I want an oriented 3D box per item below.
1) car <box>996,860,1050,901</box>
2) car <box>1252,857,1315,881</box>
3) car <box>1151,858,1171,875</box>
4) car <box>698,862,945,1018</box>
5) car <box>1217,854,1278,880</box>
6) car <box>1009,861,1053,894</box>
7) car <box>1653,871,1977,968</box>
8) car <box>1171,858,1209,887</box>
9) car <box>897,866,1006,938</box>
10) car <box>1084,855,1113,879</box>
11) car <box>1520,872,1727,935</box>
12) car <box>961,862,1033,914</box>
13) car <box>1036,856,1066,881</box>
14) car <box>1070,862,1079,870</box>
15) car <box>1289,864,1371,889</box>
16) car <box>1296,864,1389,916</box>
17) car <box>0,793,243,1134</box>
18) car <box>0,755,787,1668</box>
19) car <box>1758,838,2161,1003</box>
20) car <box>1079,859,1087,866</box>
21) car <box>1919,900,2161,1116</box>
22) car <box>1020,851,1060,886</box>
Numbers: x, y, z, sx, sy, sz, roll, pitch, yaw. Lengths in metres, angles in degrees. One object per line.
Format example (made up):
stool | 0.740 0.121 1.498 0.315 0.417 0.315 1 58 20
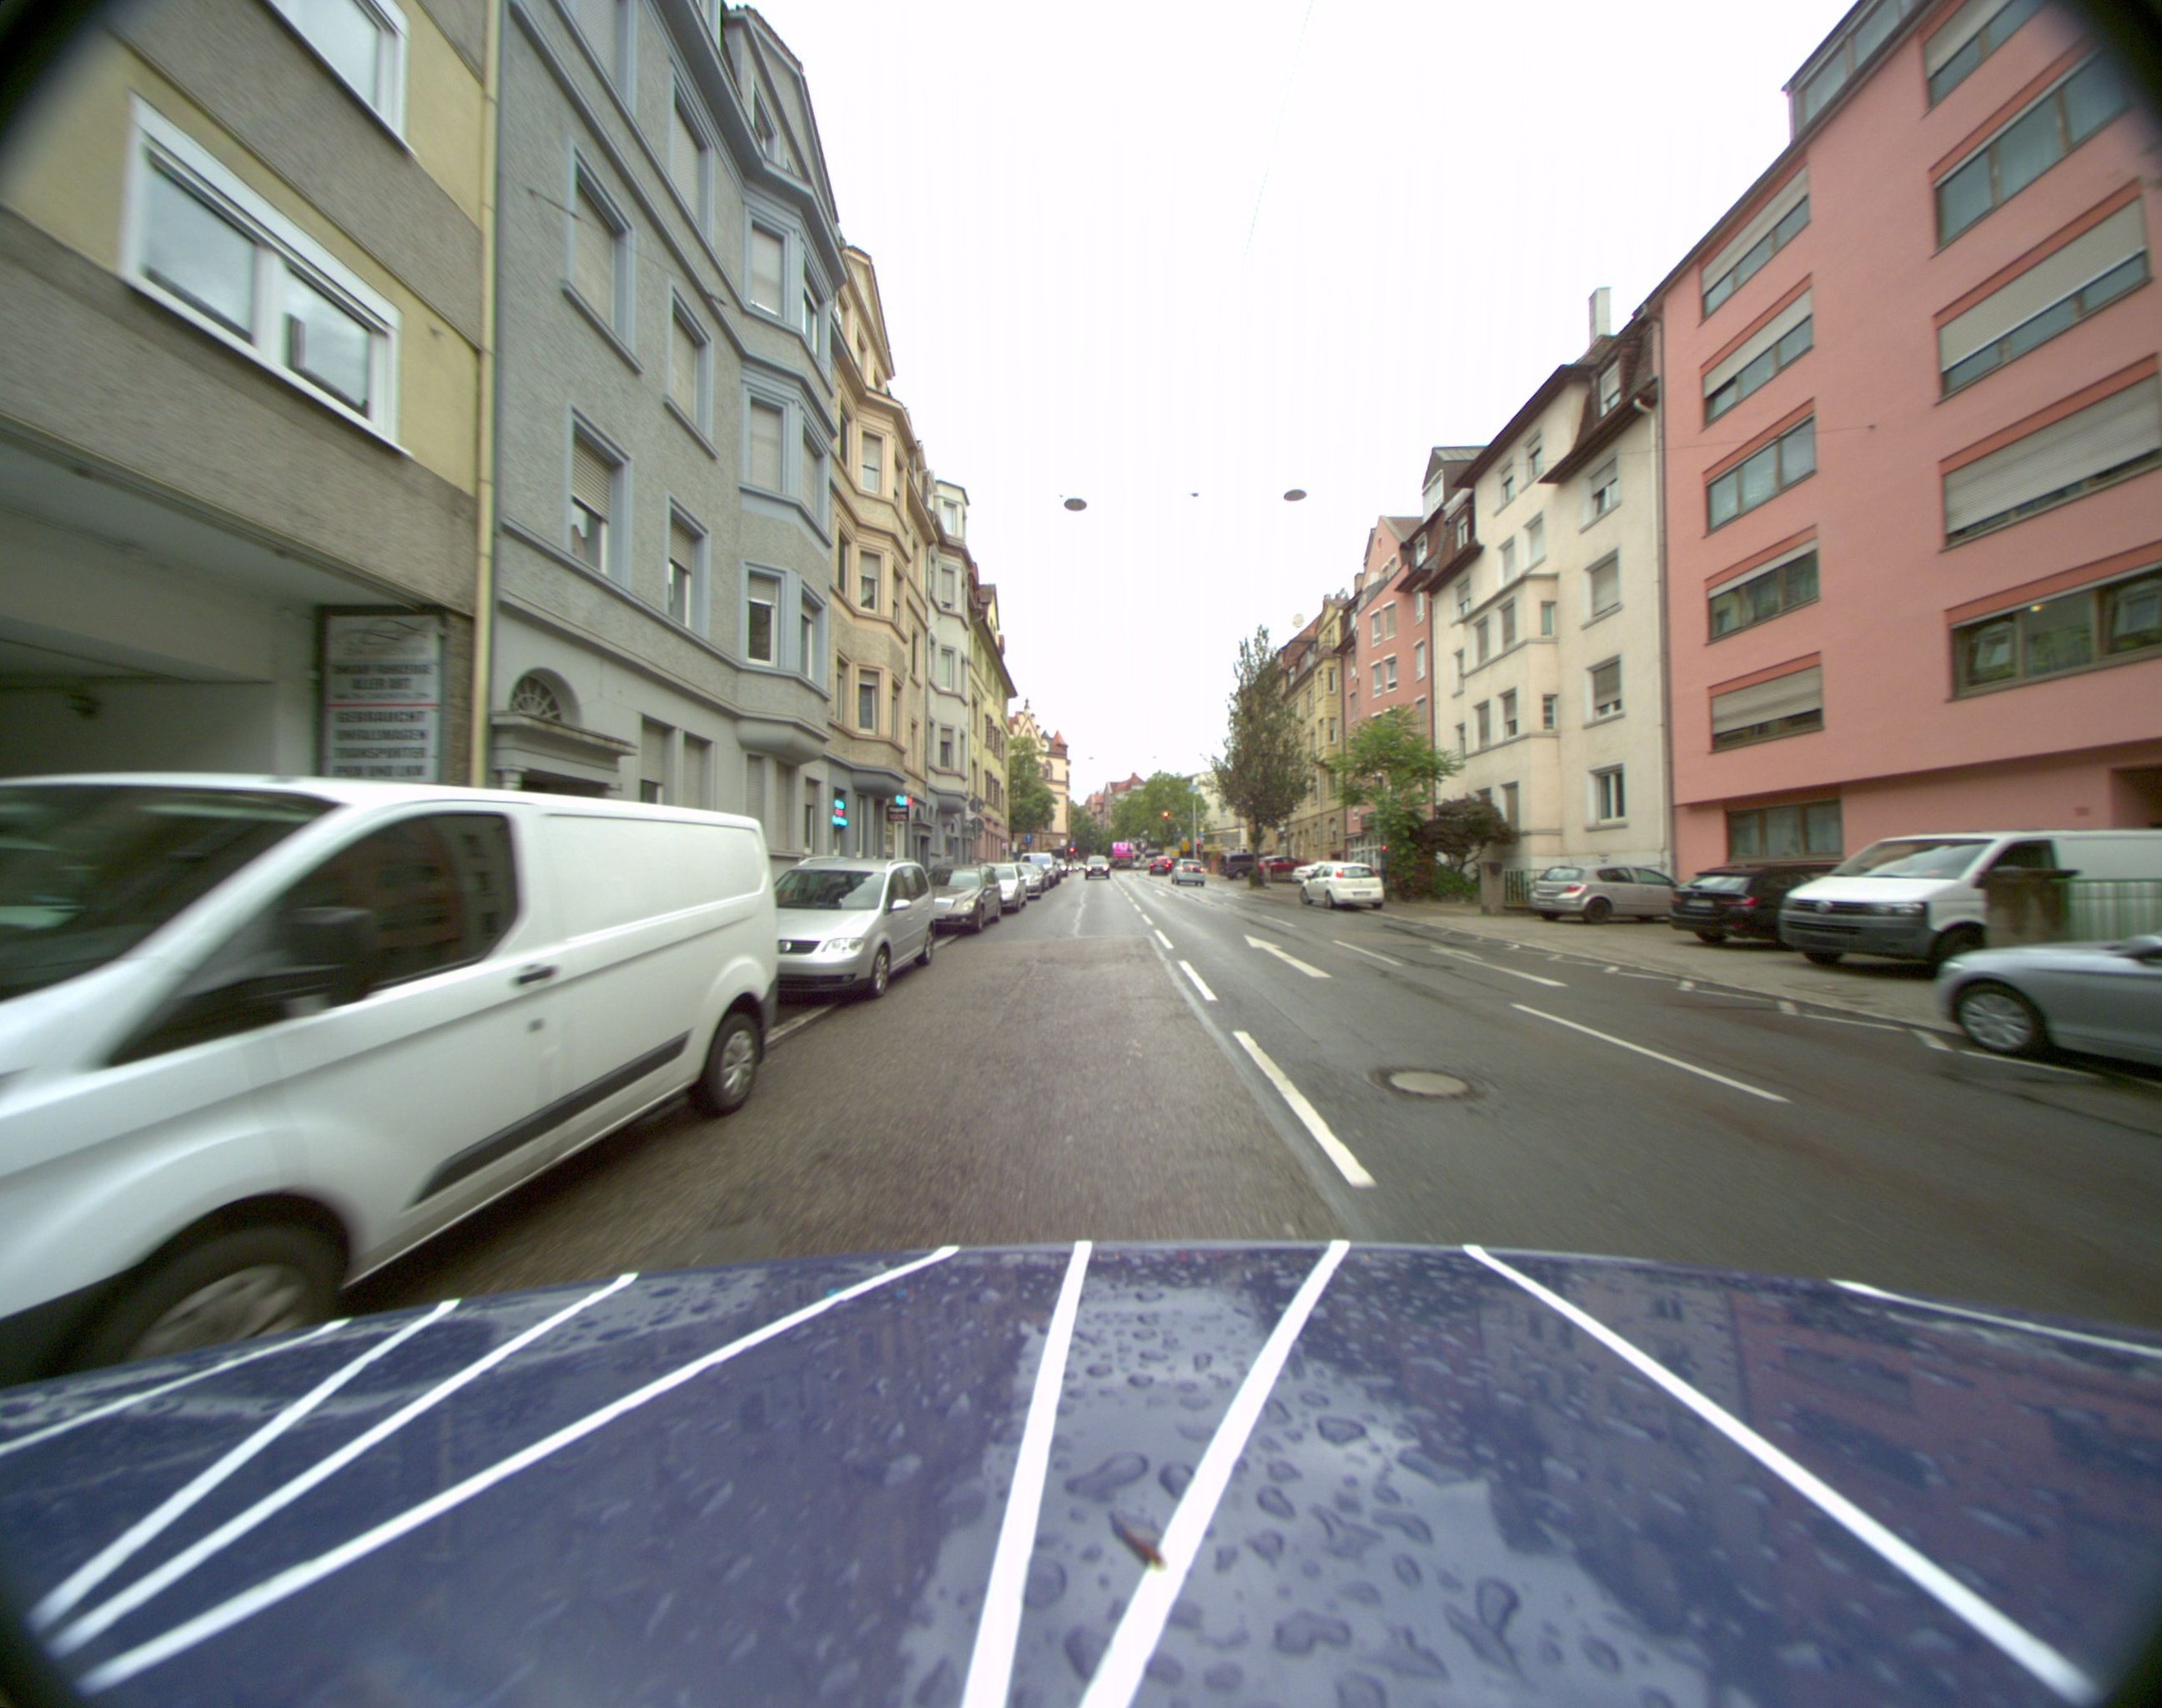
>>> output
car | -2.250 1.012 30.364 1.709 1.388 3.933 -3 0 1
car | 13.839 1.027 52.156 3.928 1.613 1.592 0 1 2
car | 7.444 1.153 71.100 1.669 1.448 3.653 -2 1 4
car | -3.137 0.927 10.203 1.731 1.588 4.312 1 0 1
car | 11.902 0.922 54.382 3.929 1.836 1.867 0 1 -1
car | -2.325 1.089 36.013 1.709 1.433 3.933 0 0 1
car | 12.490 1.075 13.114 3.929 1.389 1.759 -2 1 -1
car | 6.517 1.075 45.682 1.771 1.540 3.652 -2 1 1
car | -2.928 1.042 18.103 1.731 1.433 4.358 0 0 1
car | 1.267 0.912 55.204 1.889 1.543 3.999 -4 1 -1
car | 13.114 1.155 18.500 3.931 1.389 1.724 0 1 -5
car | -2.545 1.008 23.804 1.709 1.433 3.933 0 0 1
car | -1.805 0.872 47.290 1.627 1.498 3.746 0 0 1
car | -1.122 2.059 133.814 1.552 1.386 3.746 0 0 1
car | 13.497 1.197 41.270 3.928 1.289 1.646 0 1 2
car | 8.533 1.127 25.121 1.670 1.463 3.651 -2 1 -3
car | -8.458 0.656 5.215 4.454 2.002 2.002 0 2 20
car | -3.260 0.755 3.317 1.994 1.944 4.823 0 0 1
car | 12.361 0.796 10.262 4.731 1.893 1.918 -2 1 -1
car | 0.354 1.660 147.224 1.552 1.386 3.746 0 0 1
car | 8.382 1.131 4.791 1.685 1.409 4.138 0 0 1
car | -2.224 0.765 42.025 1.826 1.808 4.520 0 0 1
